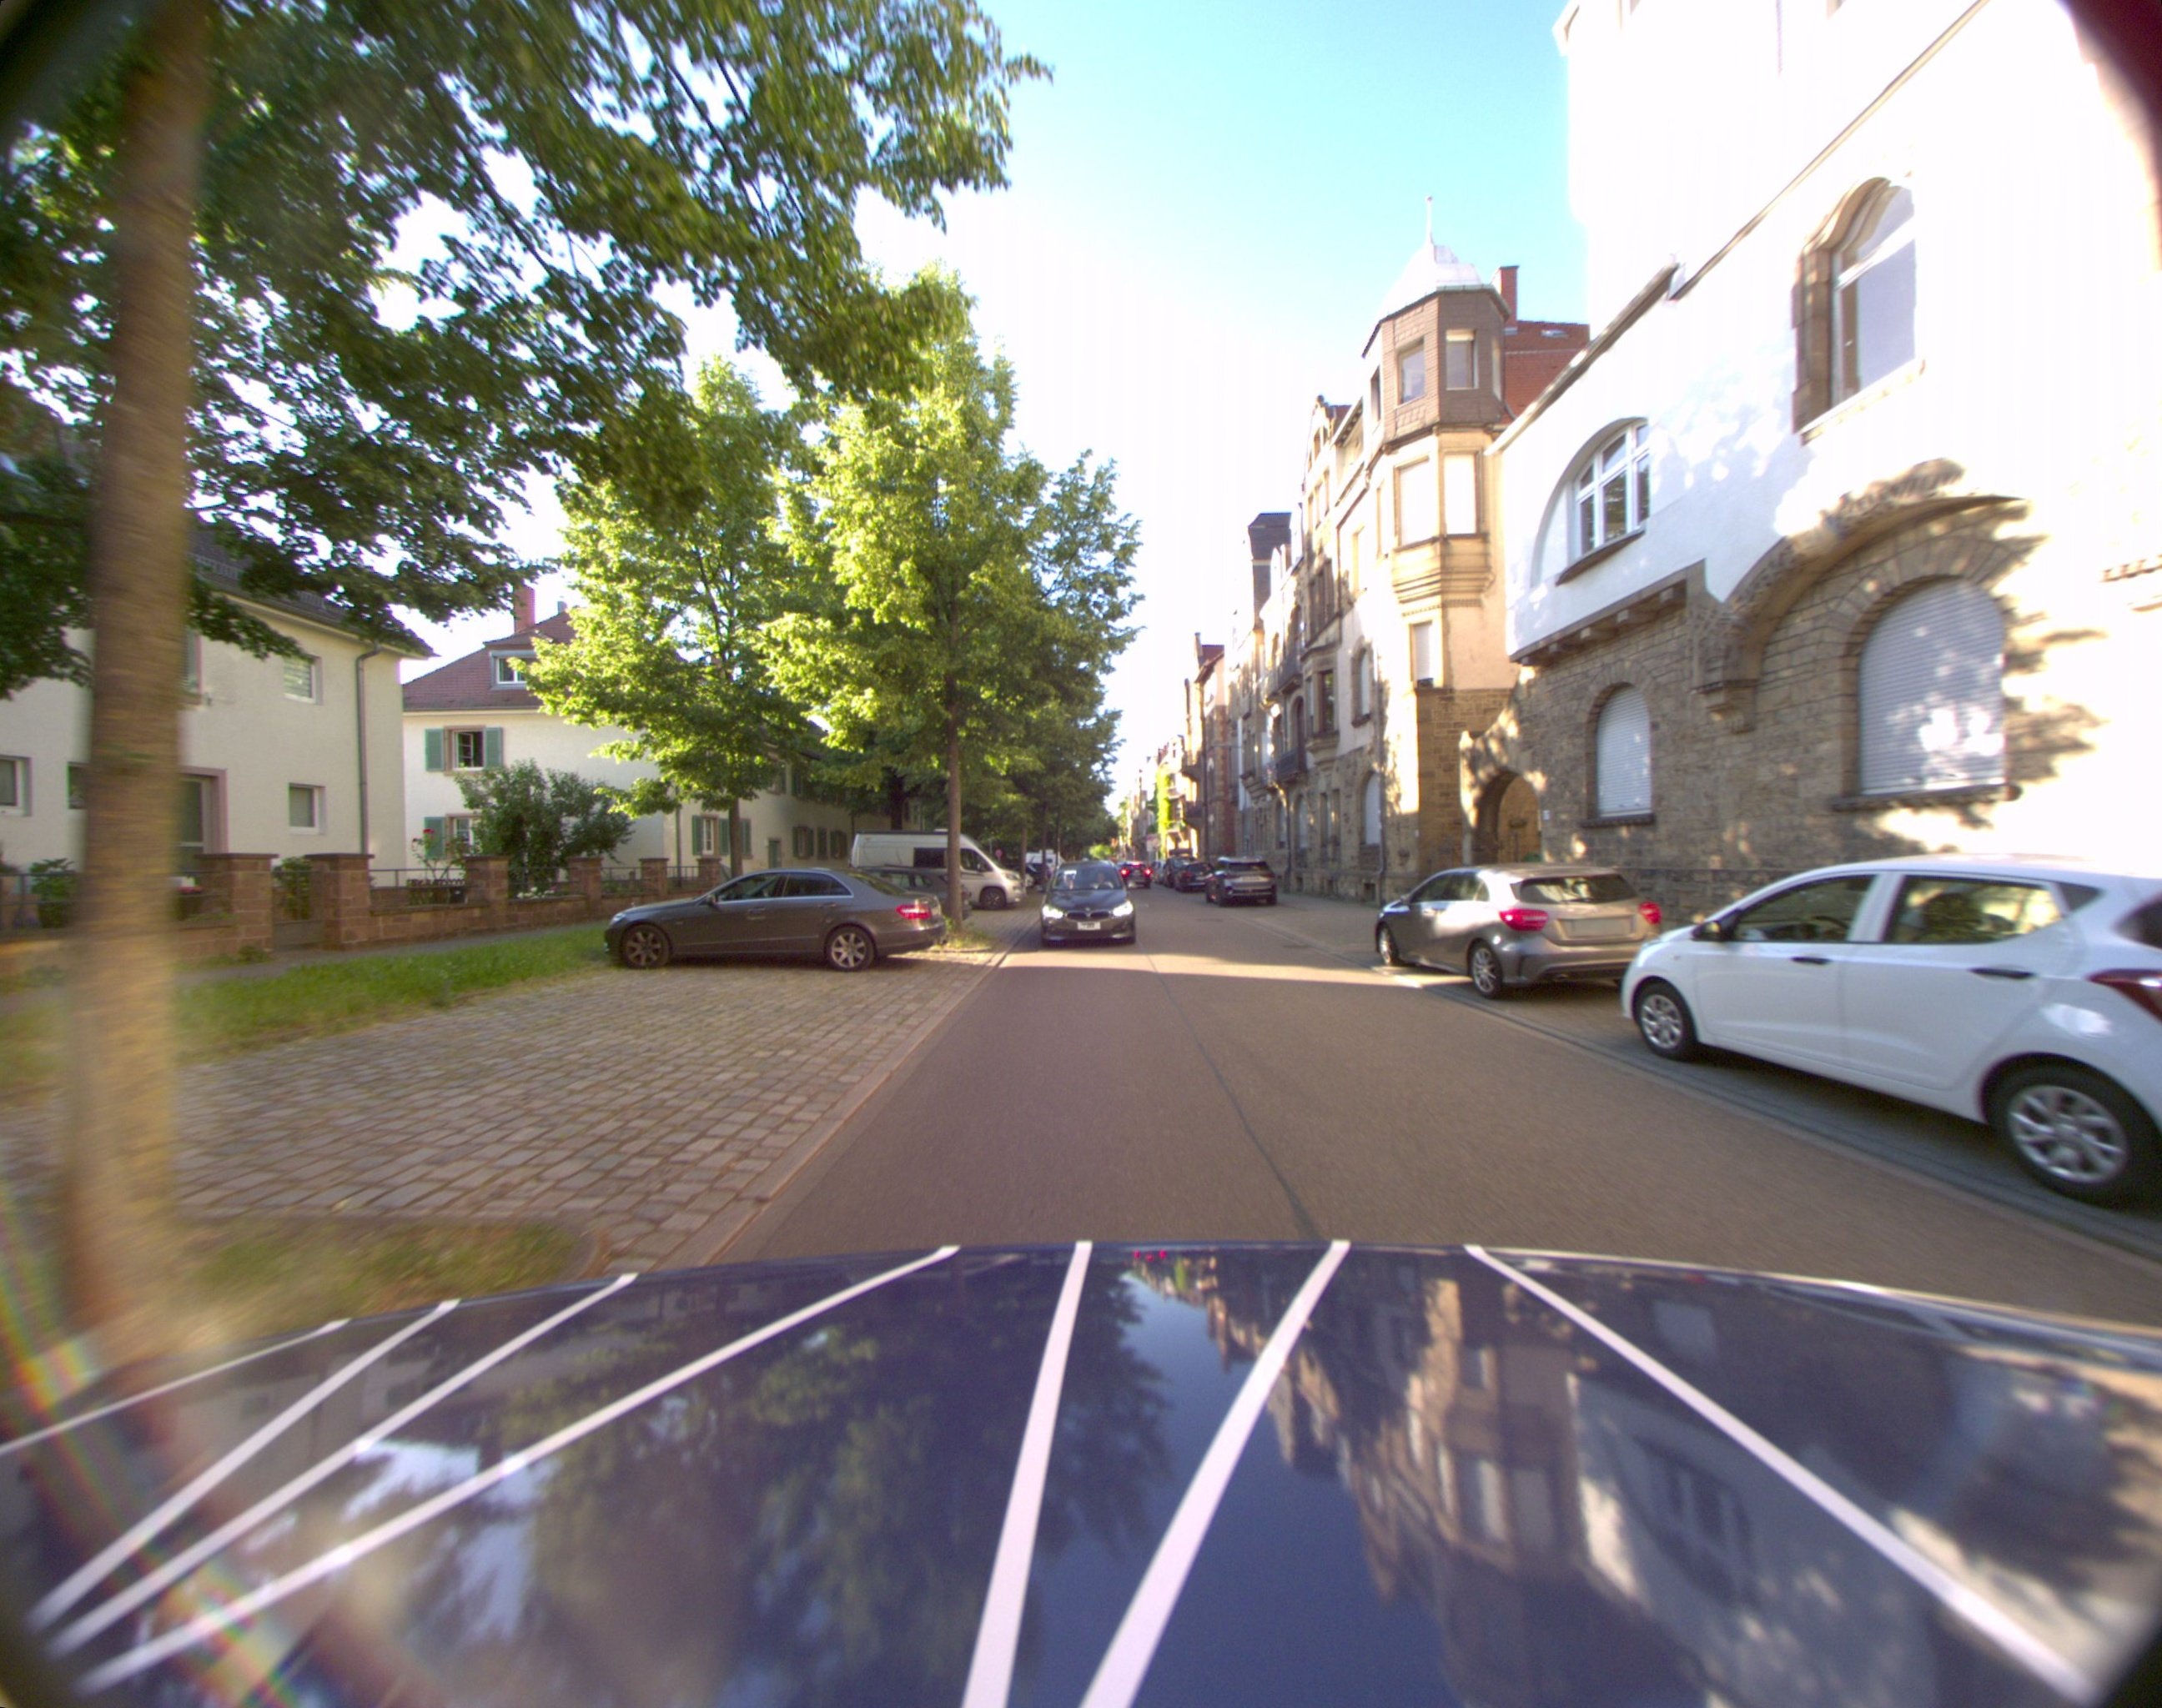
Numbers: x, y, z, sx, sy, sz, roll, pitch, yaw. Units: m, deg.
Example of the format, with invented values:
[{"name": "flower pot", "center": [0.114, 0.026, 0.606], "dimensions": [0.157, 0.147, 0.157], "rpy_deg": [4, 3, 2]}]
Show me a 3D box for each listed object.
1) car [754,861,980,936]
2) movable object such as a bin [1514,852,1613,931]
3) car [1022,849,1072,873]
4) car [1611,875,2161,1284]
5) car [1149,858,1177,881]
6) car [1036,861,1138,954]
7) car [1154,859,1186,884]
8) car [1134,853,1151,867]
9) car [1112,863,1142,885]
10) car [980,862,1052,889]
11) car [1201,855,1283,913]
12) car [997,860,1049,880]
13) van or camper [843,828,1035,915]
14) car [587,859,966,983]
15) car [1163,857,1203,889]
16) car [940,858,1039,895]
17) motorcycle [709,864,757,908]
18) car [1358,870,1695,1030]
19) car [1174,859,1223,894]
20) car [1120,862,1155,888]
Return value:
[{"name": "car", "center": [-4.648, 0.948, 16.978], "dimensions": [4.486, 1.427, 1.828], "rpy_deg": [2, 0, 1]}, {"name": "movable object such as a bin", "center": [9.651, 0.726, 15.258], "dimensions": [1.196, 1.470, 1.174], "rpy_deg": [-2, 1, 0]}, {"name": "car", "center": [-3.771, 0.806, 85.423], "dimensions": [5.448, 2.646, 2.134], "rpy_deg": [0, 0, 1]}, {"name": "car", "center": [5.001, 0.914, 4.304], "dimensions": [1.570, 1.461, 3.592], "rpy_deg": [-2, -1, 3]}, {"name": "car", "center": [5.916, 1.163, 55.154], "dimensions": [1.633, 1.496, 3.856], "rpy_deg": [-5, -2, 2]}, {"name": "car", "center": [0.166, 0.979, 15.809], "dimensions": [1.753, 1.596, 4.551], "rpy_deg": [-2, -1, 2]}, {"name": "car", "center": [5.751, 1.138, 49.564], "dimensions": [1.633, 1.439, 3.856], "rpy_deg": [-5, -2, 2]}, {"name": "car", "center": [7.075, 0.731, 87.892], "dimensions": [1.686, 1.496, 3.629], "rpy_deg": [-5, -2, 2]}, {"name": "car", "center": [3.380, 1.435, 56.351], "dimensions": [1.868, 1.454, 4.568], "rpy_deg": [-1, 0, 0]}, {"name": "car", "center": [-3.764, 1.261, 44.374], "dimensions": [3.997, 1.543, 1.555], "rpy_deg": [0, 0, 1]}, {"name": "car", "center": [5.315, 0.937, 25.640], "dimensions": [1.881, 1.707, 4.340], "rpy_deg": [-2, 0, 1]}, {"name": "car", "center": [-4.556, 1.241, 59.723], "dimensions": [3.998, 1.503, 1.572], "rpy_deg": [0, 0, -3]}, {"name": "van or camper", "center": [-4.498, 0.548, 24.787], "dimensions": [5.733, 2.502, 2.162], "rpy_deg": [2, 0, 0]}, {"name": "car", "center": [-4.299, 0.927, 11.350], "dimensions": [4.850, 1.530, 1.894], "rpy_deg": [2, 0, -1]}, {"name": "car", "center": [5.830, 1.026, 43.847], "dimensions": [1.774, 1.658, 4.212], "rpy_deg": [-2, 0, 1]}, {"name": "car", "center": [-4.392, 1.069, 37.122], "dimensions": [4.606, 1.706, 2.000], "rpy_deg": [1, 0, -1]}, {"name": "motorcycle", "center": [-11.993, 1.086, 26.245], "dimensions": [0.660, 1.398, 2.016], "rpy_deg": [-2, 1, 1]}, {"name": "car", "center": [5.053, 0.963, 9.389], "dimensions": [1.681, 1.434, 4.111], "rpy_deg": [-2, -1, 0]}, {"name": "car", "center": [5.693, 1.075, 37.292], "dimensions": [1.774, 1.493, 4.212], "rpy_deg": [-1, 1, 1]}, {"name": "car", "center": [3.238, 1.183, 44.108], "dimensions": [1.631, 1.469, 3.759], "rpy_deg": [0, 0, -1]}]
